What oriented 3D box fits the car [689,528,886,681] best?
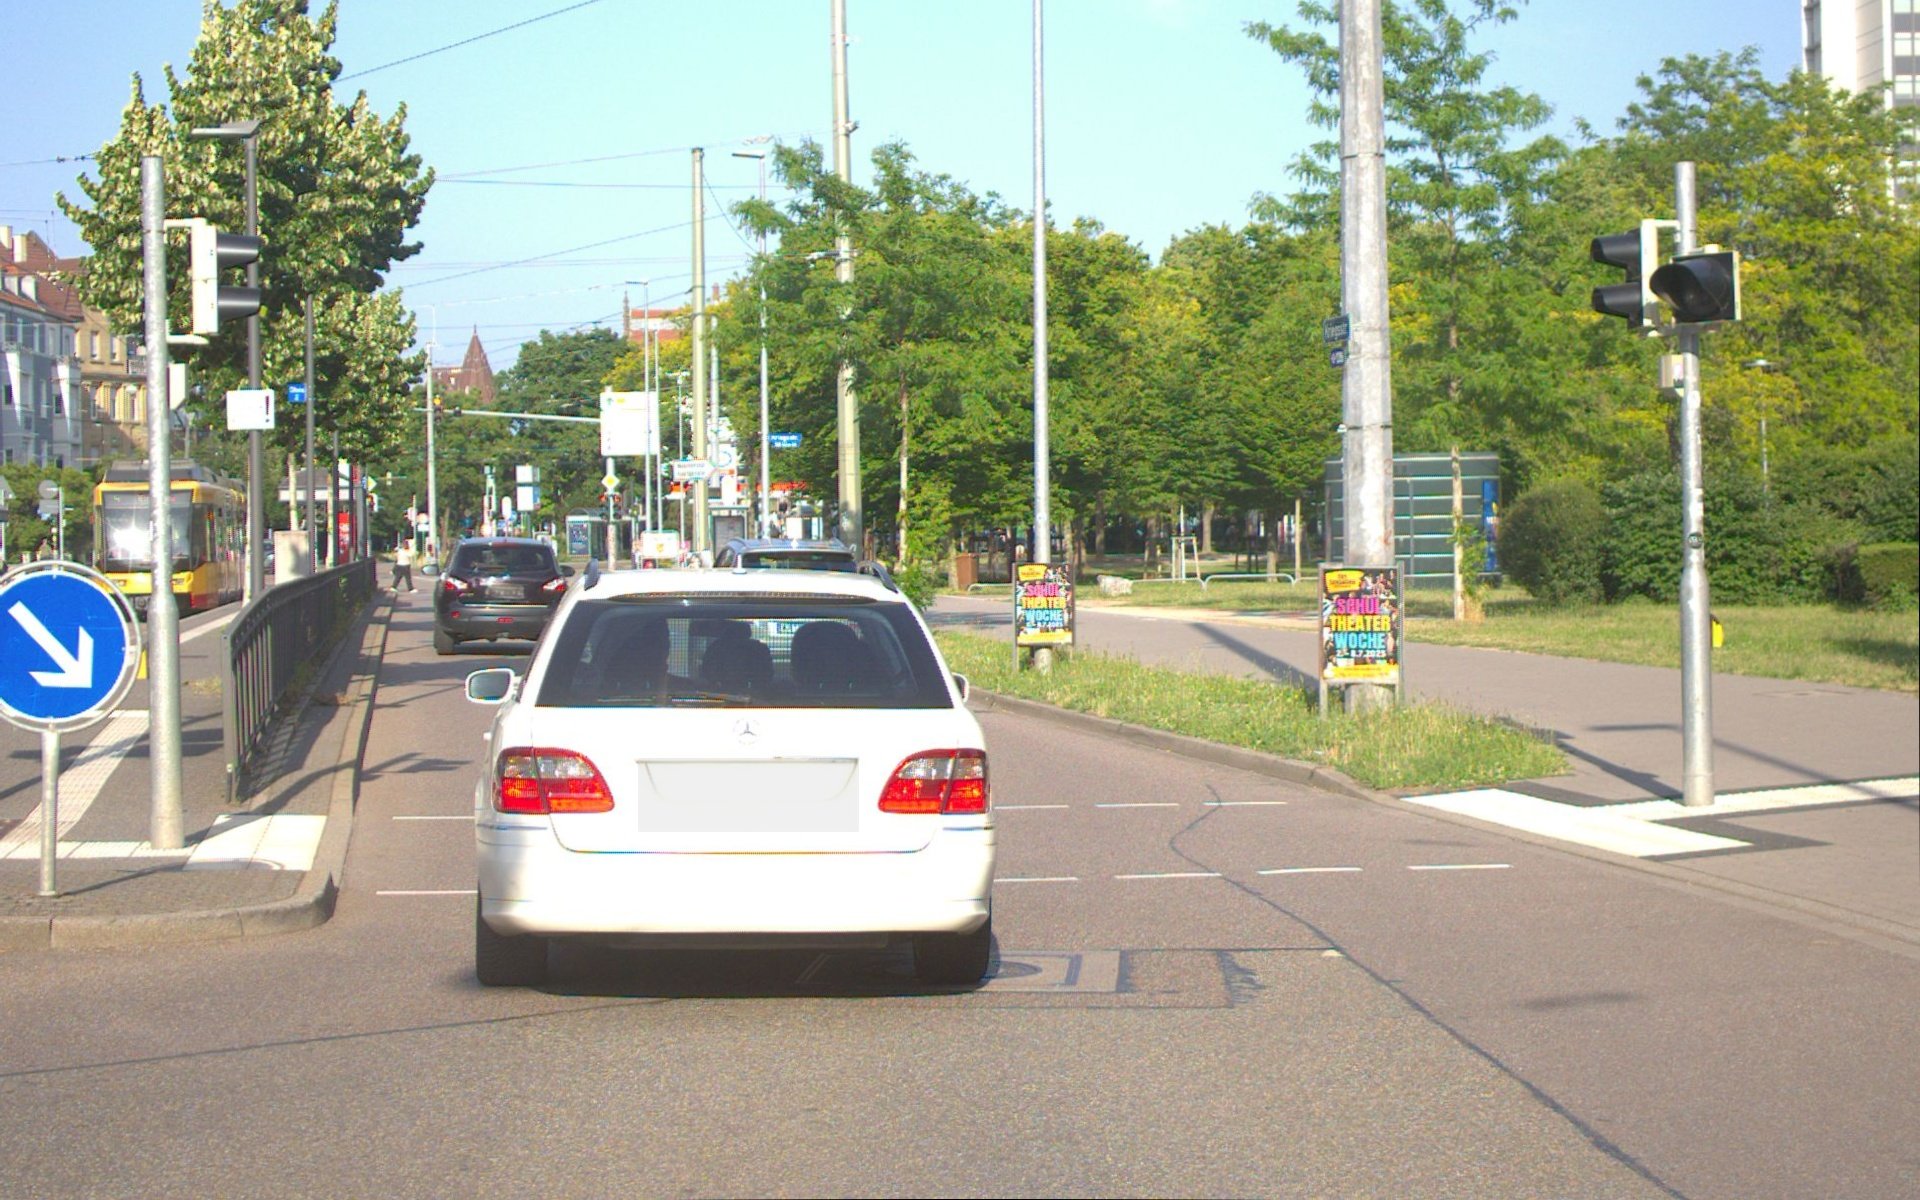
[{"bbox_3d":[-1.964,0.009,38.057,2.033,1.600,4.001,0,1,-5],"label":"car"}]

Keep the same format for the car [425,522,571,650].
[{"bbox_3d":[-6.288,-0.222,47.141,1.787,1.684,4.001,0,1,-5],"label":"car"}]

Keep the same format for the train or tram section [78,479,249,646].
[{"bbox_3d":[-18.012,-0.930,78.449,2.849,3.467,13.204,0,1,-9],"label":"train or tram section"}]

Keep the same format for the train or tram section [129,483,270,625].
[{"bbox_3d":[-20.025,-1.271,91.115,2.849,3.467,13.203,0,1,-9],"label":"train or tram section"}]

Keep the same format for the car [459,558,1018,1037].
[{"bbox_3d":[-0.886,0.618,12.858,1.758,1.498,4.001,0,0,-5],"label":"car"}]
